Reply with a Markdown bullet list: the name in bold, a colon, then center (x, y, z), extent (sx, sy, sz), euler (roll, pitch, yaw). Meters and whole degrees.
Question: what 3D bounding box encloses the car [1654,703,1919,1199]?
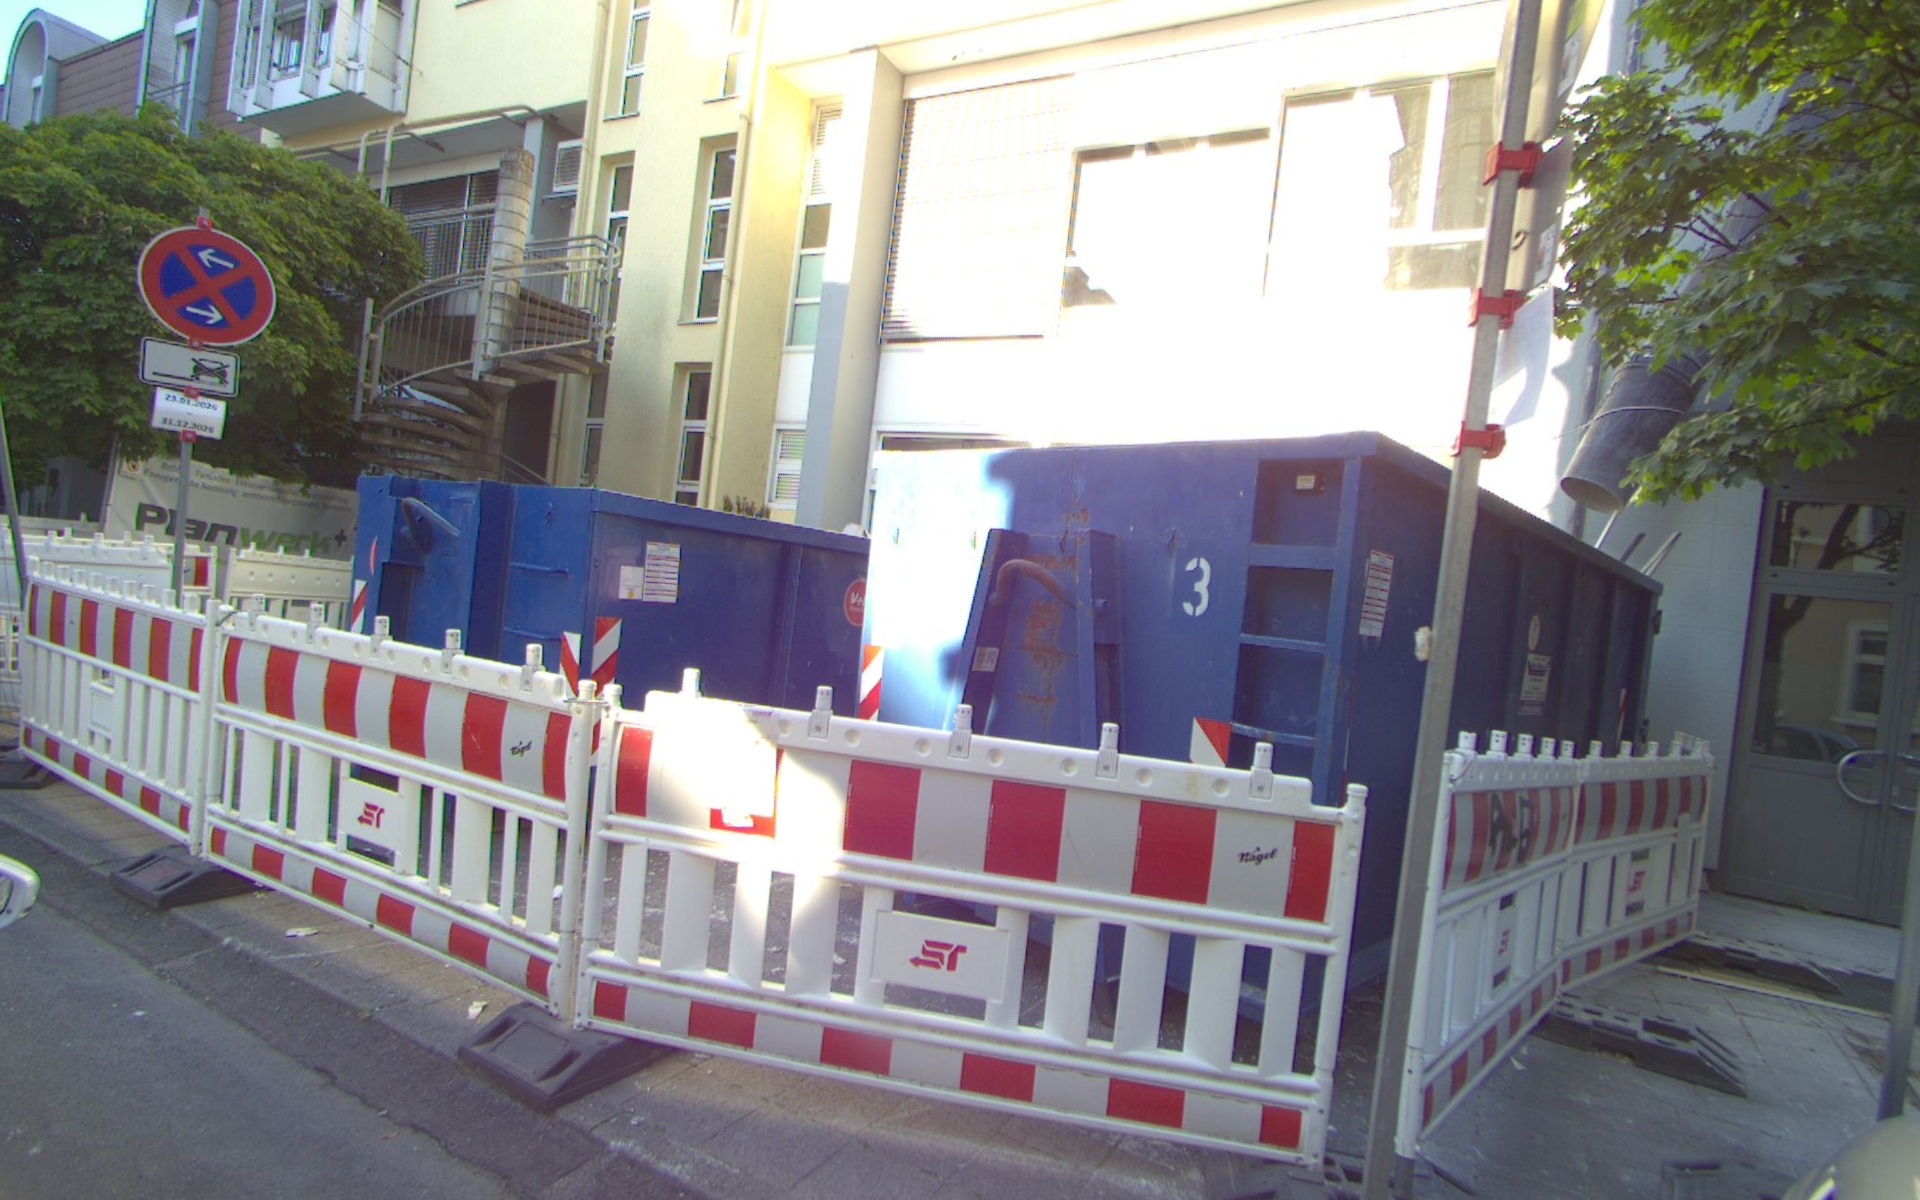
- **car**: center (2.764, 1.119, 0.635), extent (3.668, 1.495, 1.677), euler (7, 1, 32)
